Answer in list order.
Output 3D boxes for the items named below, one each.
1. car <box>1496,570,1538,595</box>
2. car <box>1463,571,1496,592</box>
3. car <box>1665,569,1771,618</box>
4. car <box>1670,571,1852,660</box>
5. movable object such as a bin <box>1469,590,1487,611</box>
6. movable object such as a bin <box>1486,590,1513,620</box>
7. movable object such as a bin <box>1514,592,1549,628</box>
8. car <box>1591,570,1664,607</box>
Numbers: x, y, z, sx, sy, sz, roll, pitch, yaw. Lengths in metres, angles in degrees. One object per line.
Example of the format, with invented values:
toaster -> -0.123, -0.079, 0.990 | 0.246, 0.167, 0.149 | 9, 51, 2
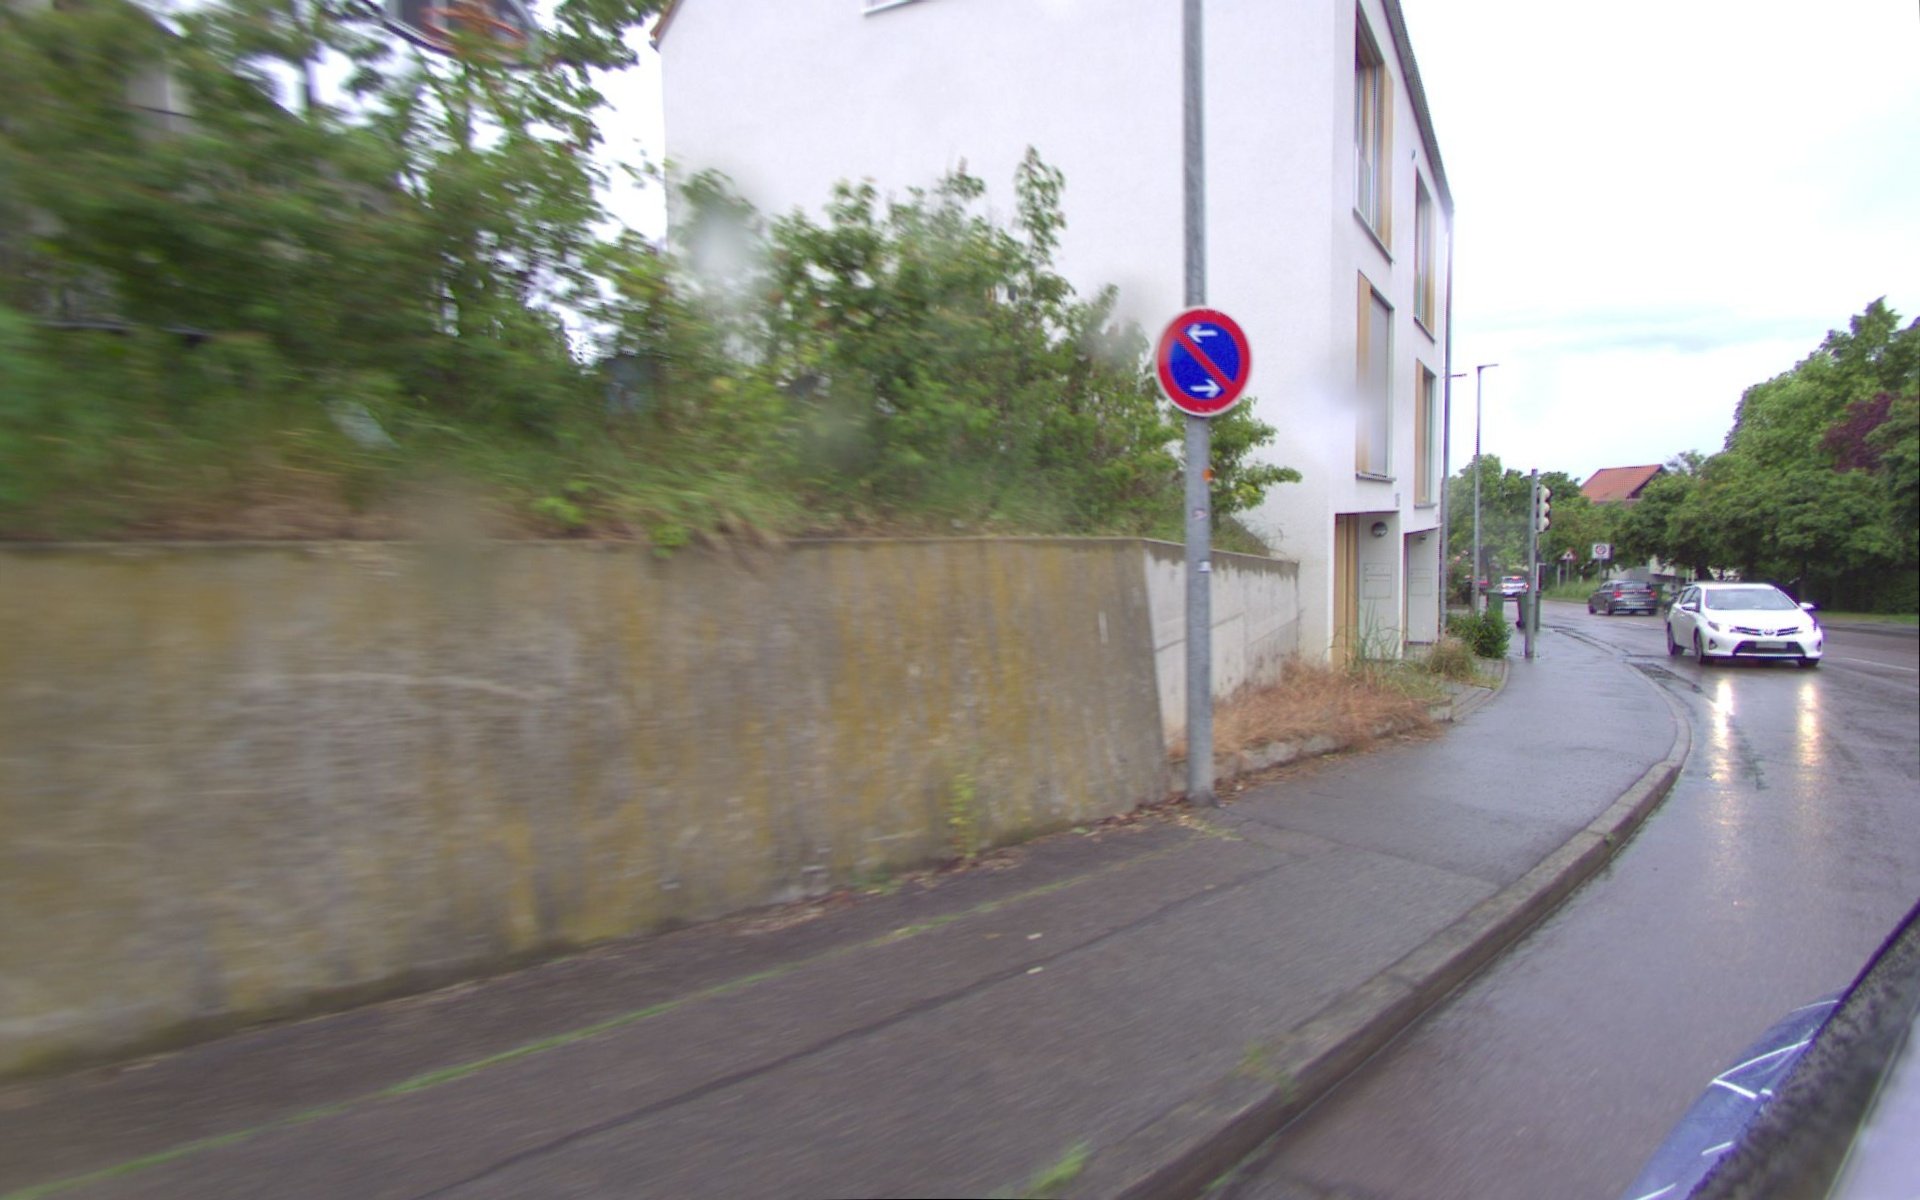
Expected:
car -> 36.569, -1.166, 66.509 | 1.788, 1.573, 3.805 | 0, 1, 20
car -> 44.405, -1.544, 86.577 | 1.899, 1.644, 4.334 | -1, -2, 19
car -> 23.575, -0.232, 31.620 | 1.662, 1.423, 3.653 | 0, 1, 21
car -> 14.997, 0.231, 19.205 | 1.841, 1.453, 3.983 | -1, 2, 26
movable object such as a bin -> 22.800, 0.027, 44.513 | 0.625, 0.908, 0.707 | 0, 1, 21
movable object such as a bin -> 20.064, 0.179, 37.653 | 0.790, 1.084, 0.755 | 0, 1, 23
movable object such as a bin -> 17.358, 0.307, 30.762 | 0.828, 1.074, 0.744 | 0, 1, 22
car -> 27.073, -0.481, 41.155 | 1.805, 1.440, 3.869 | 0, 1, 24
